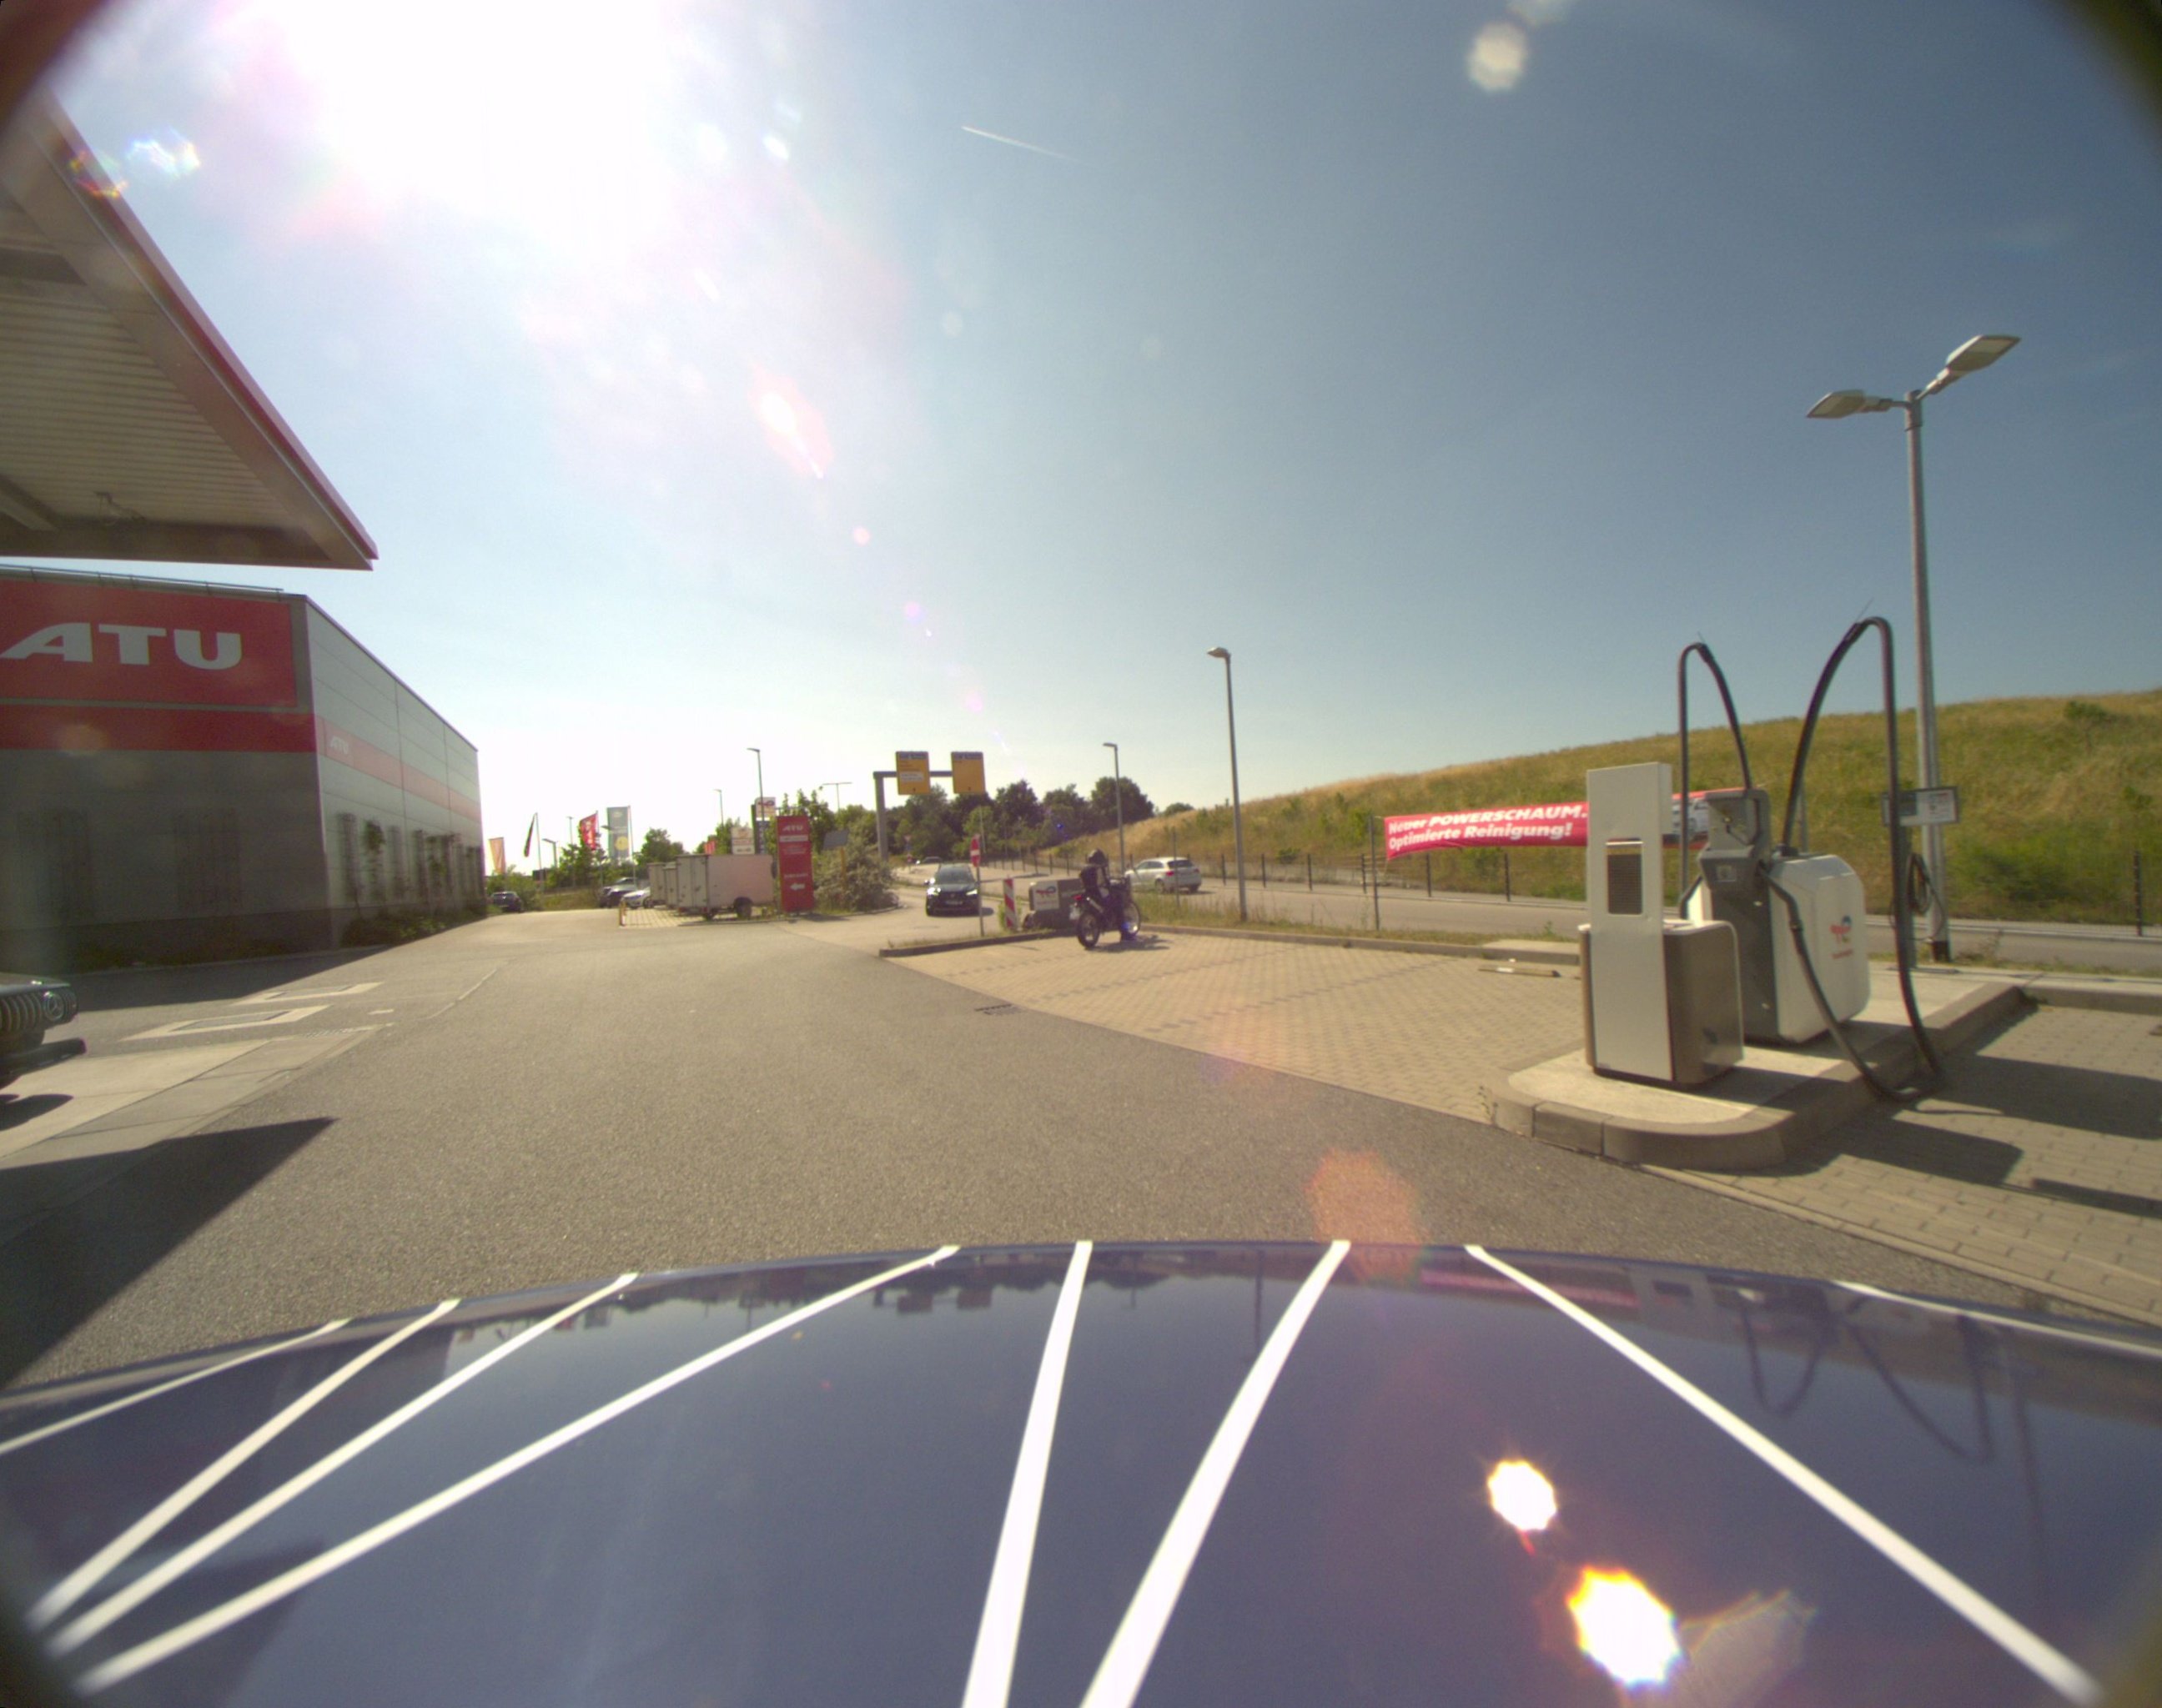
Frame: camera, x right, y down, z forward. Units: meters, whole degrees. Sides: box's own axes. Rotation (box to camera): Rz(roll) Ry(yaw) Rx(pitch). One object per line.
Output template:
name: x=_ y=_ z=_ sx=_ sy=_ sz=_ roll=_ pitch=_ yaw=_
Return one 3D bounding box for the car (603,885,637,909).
car: x=-28.886 y=2.653 z=47.570 sx=1.684 sy=1.310 sz=3.827 roll=-3 pitch=0 yaw=-32

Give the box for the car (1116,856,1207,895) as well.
car: x=3.248 y=0.844 z=31.584 sx=1.709 sy=1.416 sz=4.085 roll=-3 pitch=1 yaw=-28

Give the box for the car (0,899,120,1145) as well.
car: x=-10.658 y=1.379 z=5.072 sx=4.805 sy=1.840 sz=2.030 roll=-2 pitch=0 yaw=-31

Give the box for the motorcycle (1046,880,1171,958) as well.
motorcycle: x=0.552 y=1.116 z=13.617 sx=1.043 sy=1.099 sz=2.420 roll=-3 pitch=1 yaw=35

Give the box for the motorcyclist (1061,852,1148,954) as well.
motorcyclist: x=0.431 y=0.837 z=13.472 sx=1.032 sy=1.678 sz=1.101 roll=-3 pitch=0 yaw=35

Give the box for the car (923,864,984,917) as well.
car: x=-4.684 y=1.245 z=27.334 sx=1.744 sy=1.635 sz=4.627 roll=-3 pitch=0 yaw=-14

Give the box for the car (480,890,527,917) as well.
car: x=-37.373 y=3.175 z=49.125 sx=3.825 sy=1.532 sz=1.685 roll=-3 pitch=0 yaw=43

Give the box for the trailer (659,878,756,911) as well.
trailer: x=-17.310 y=1.872 z=35.343 sx=1.574 sy=1.273 sz=3.726 roll=-3 pitch=0 yaw=35

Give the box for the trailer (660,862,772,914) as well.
trailer: x=-15.957 y=1.463 z=33.381 sx=1.798 sy=2.002 sz=4.008 roll=-3 pitch=0 yaw=35

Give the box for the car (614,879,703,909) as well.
car: x=-22.716 y=2.135 z=40.988 sx=1.677 sy=1.310 sz=3.842 roll=-3 pitch=0 yaw=26

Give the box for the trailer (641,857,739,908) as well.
trailer: x=-20.562 y=1.467 z=40.117 sx=1.995 sy=2.413 sz=4.007 roll=-3 pitch=0 yaw=32

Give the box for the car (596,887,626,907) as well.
car: x=-34.706 y=3.147 z=56.157 sx=1.684 sy=1.295 sz=3.717 roll=-3 pitch=0 yaw=-29

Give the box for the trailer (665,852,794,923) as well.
trailer: x=-13.170 y=1.191 z=28.726 sx=1.995 sy=2.413 sz=4.006 roll=-3 pitch=0 yaw=22
